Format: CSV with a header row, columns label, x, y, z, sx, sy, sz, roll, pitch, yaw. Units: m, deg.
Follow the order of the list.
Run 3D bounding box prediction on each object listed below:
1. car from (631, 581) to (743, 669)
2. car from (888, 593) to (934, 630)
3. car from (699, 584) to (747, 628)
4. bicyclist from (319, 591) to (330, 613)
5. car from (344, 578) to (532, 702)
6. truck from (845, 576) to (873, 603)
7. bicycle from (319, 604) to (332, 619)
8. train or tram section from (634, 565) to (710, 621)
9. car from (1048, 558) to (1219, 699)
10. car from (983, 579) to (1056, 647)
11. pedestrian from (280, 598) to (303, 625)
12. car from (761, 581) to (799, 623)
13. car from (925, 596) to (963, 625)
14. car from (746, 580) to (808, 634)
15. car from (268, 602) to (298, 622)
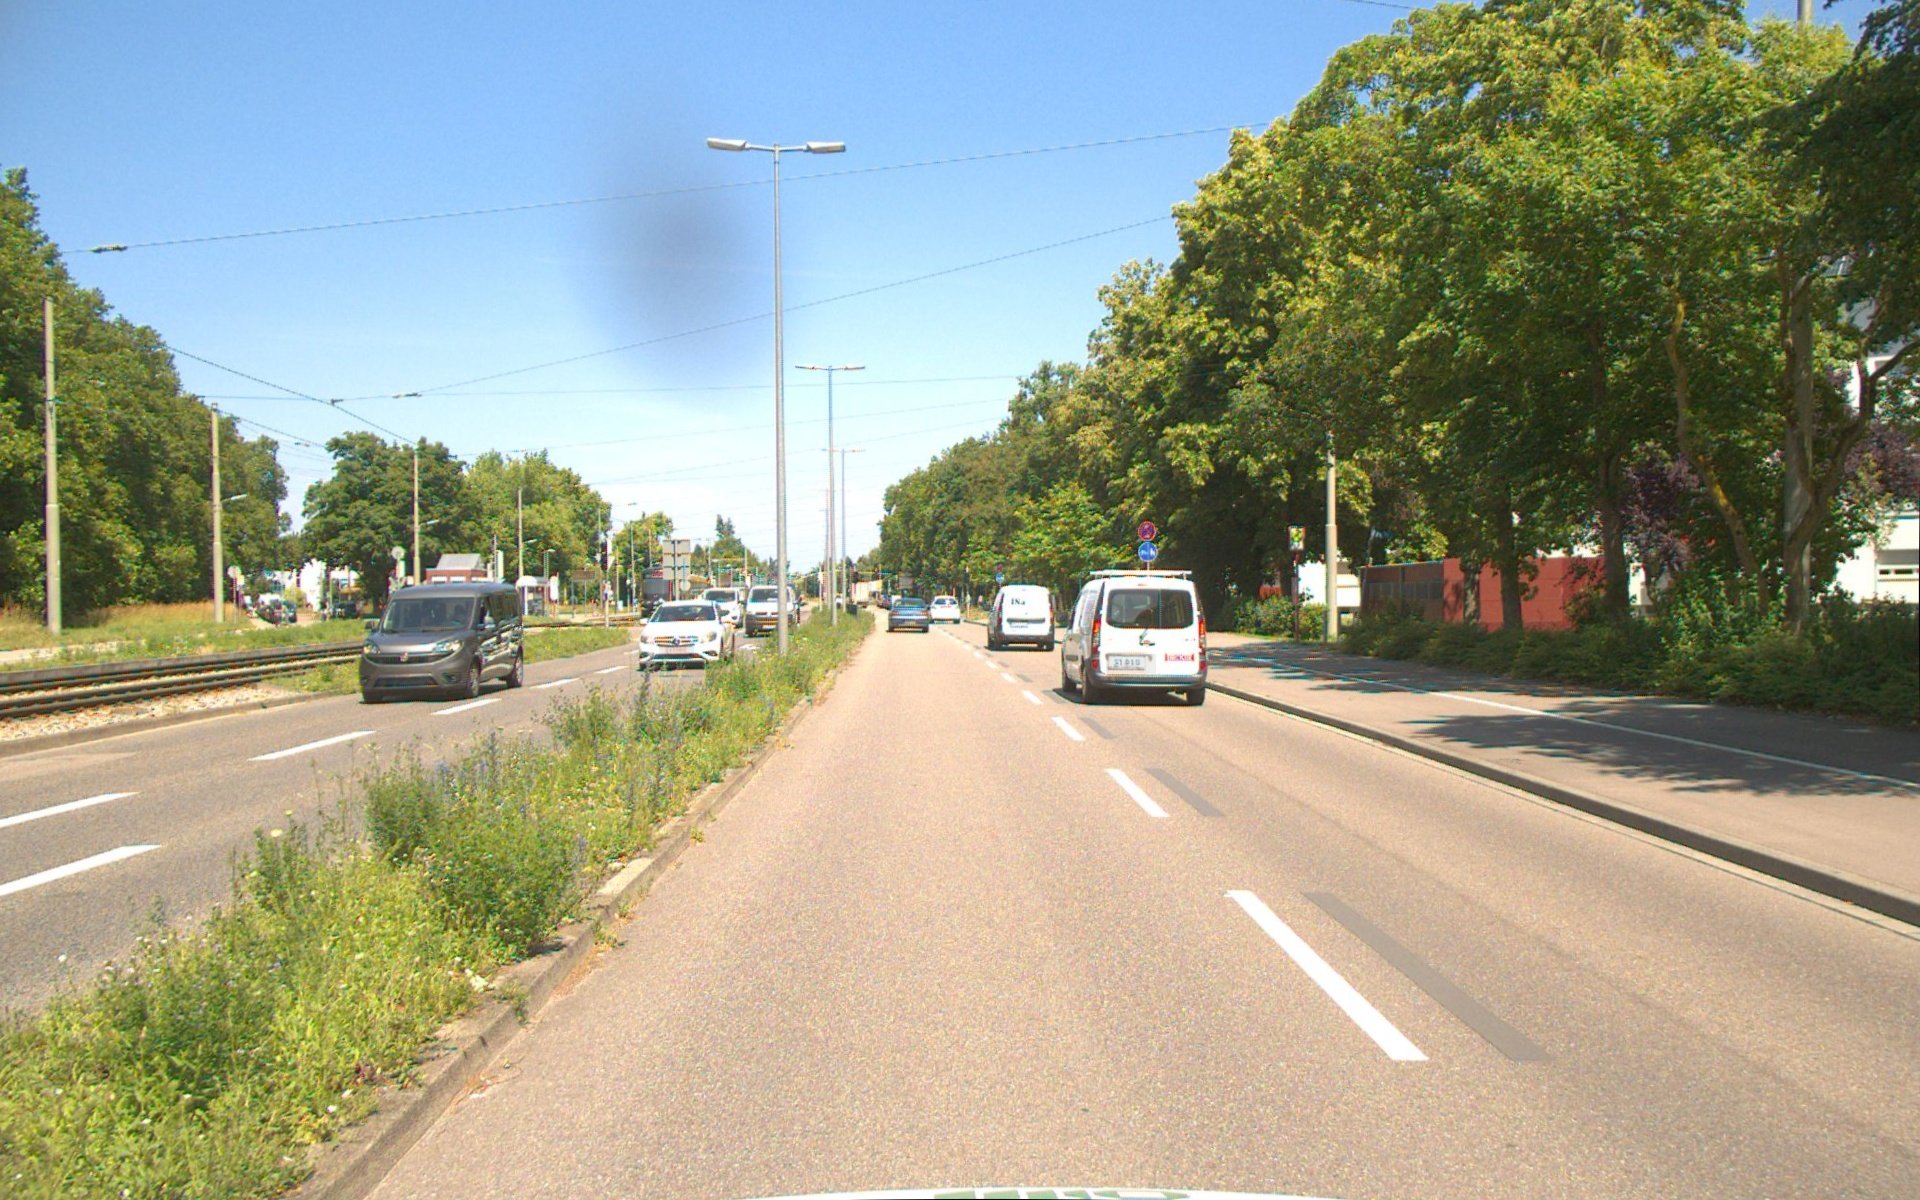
label,x,y,z,sx,sy,sz,roll,pitch,yaw
car,-5.952,0.502,36.490,1.793,1.769,4.037,-2,0,-1
car,-2.077,0.458,69.531,1.766,1.512,3.997,0,0,-4
car,-11.849,0.274,82.858,1.851,2.052,5.079,-3,0,-3
bicyclist,-40.487,0.138,105.376,0.499,1.359,0.679,0,0,-11
car,-8.549,0.597,27.514,1.793,1.833,4.612,-2,0,-3
truck,-15.142,-1.602,246.412,3.823,3.879,10.780,-1,0,-5
bicycle,-40.524,0.745,105.586,0.498,0.917,1.562,0,0,-10
train or tram section,-22.187,-0.493,129.824,2.733,3.732,37.477,0,0,-5
car,2.495,0.386,24.844,1.788,1.914,4.452,1,0,-4
car,1.675,0.344,47.518,1.693,1.845,3.997,1,1,-4
pedestrian,-43.077,0.738,106.544,0.508,1.731,1.264,0,0,39
car,-10.692,0.094,98.626,1.954,2.407,5.369,-2,0,-4
car,-0.938,0.568,93.403,1.768,1.567,3.995,0,0,-6
car,-7.071,0.248,64.356,1.793,1.939,5.565,-2,0,-1
car,-52.507,0.945,128.288,1.968,1.493,3.968,0,0,-25
